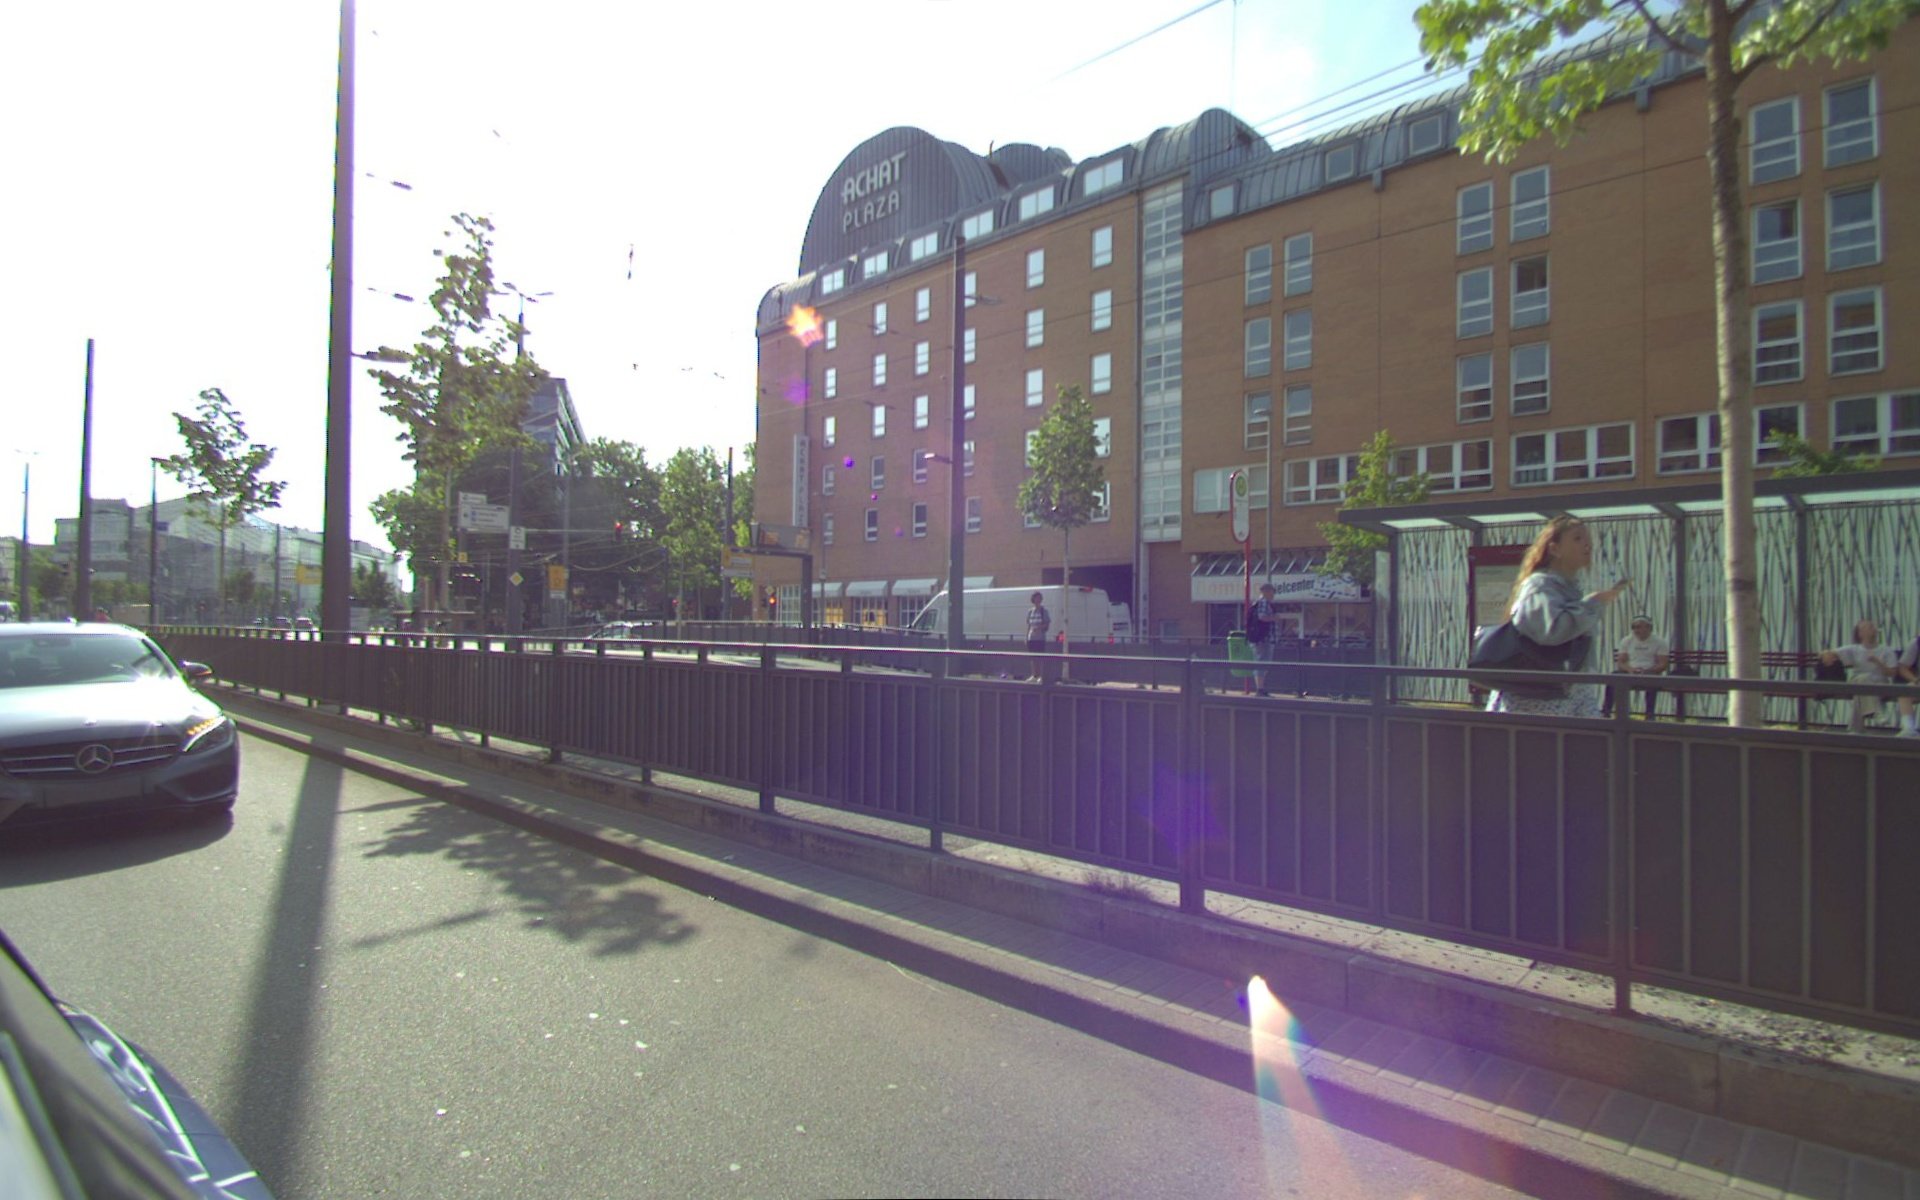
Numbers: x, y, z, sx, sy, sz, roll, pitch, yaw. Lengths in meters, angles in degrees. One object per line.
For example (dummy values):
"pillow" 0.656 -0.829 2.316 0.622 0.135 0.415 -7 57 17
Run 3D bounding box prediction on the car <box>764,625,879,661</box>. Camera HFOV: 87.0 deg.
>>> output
"car" -4.112 1.241 29.736 3.489 0.978 1.527 -1 -3 45

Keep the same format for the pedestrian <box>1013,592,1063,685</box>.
"pedestrian" 1.527 0.735 19.826 0.643 1.773 0.699 -1 1 -44

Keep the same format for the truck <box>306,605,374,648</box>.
"truck" -57.577 2.433 93.792 3.122 3.805 12.374 3 -2 -42

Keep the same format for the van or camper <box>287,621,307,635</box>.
"van or camper" -81.697 3.438 124.639 1.896 1.714 4.010 2 -2 -34

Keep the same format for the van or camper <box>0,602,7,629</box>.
"van or camper" -78.537 1.209 81.416 1.902 2.228 3.997 2 -2 -32

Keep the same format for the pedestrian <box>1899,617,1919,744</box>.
"pedestrian" 10.032 0.820 10.294 0.675 1.255 1.140 -1 -3 44

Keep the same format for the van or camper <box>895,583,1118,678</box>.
"van or camper" 1.002 0.730 24.313 5.344 2.029 2.059 -1 -3 45

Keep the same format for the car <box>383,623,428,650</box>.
"car" -42.036 2.756 76.675 1.970 2.029 4.004 3 -2 -43

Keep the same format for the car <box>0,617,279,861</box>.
"car" -6.922 0.851 7.706 4.234 1.403 1.882 -1 -1 41

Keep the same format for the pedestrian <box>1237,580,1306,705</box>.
"pedestrian" 4.597 0.625 14.960 0.825 1.759 0.783 2 -3 8

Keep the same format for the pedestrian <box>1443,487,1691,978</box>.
"pedestrian" 2.481 0.473 4.138 0.727 1.771 0.666 0 1 44

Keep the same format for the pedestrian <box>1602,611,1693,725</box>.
"pedestrian" 8.411 0.809 12.372 0.808 1.324 0.860 -1 -3 42

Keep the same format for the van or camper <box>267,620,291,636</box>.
"van or camper" -71.542 2.951 106.293 1.816 1.564 4.008 2 -2 -38

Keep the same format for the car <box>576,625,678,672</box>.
"car" -12.485 1.777 37.884 4.026 1.630 1.971 -1 -3 44

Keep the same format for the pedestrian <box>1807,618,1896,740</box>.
"pedestrian" 9.673 0.834 10.983 0.675 1.255 0.782 -1 -3 44

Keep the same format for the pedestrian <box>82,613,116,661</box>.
"pedestrian" -29.948 1.276 35.189 0.640 1.646 0.579 0 -2 10
